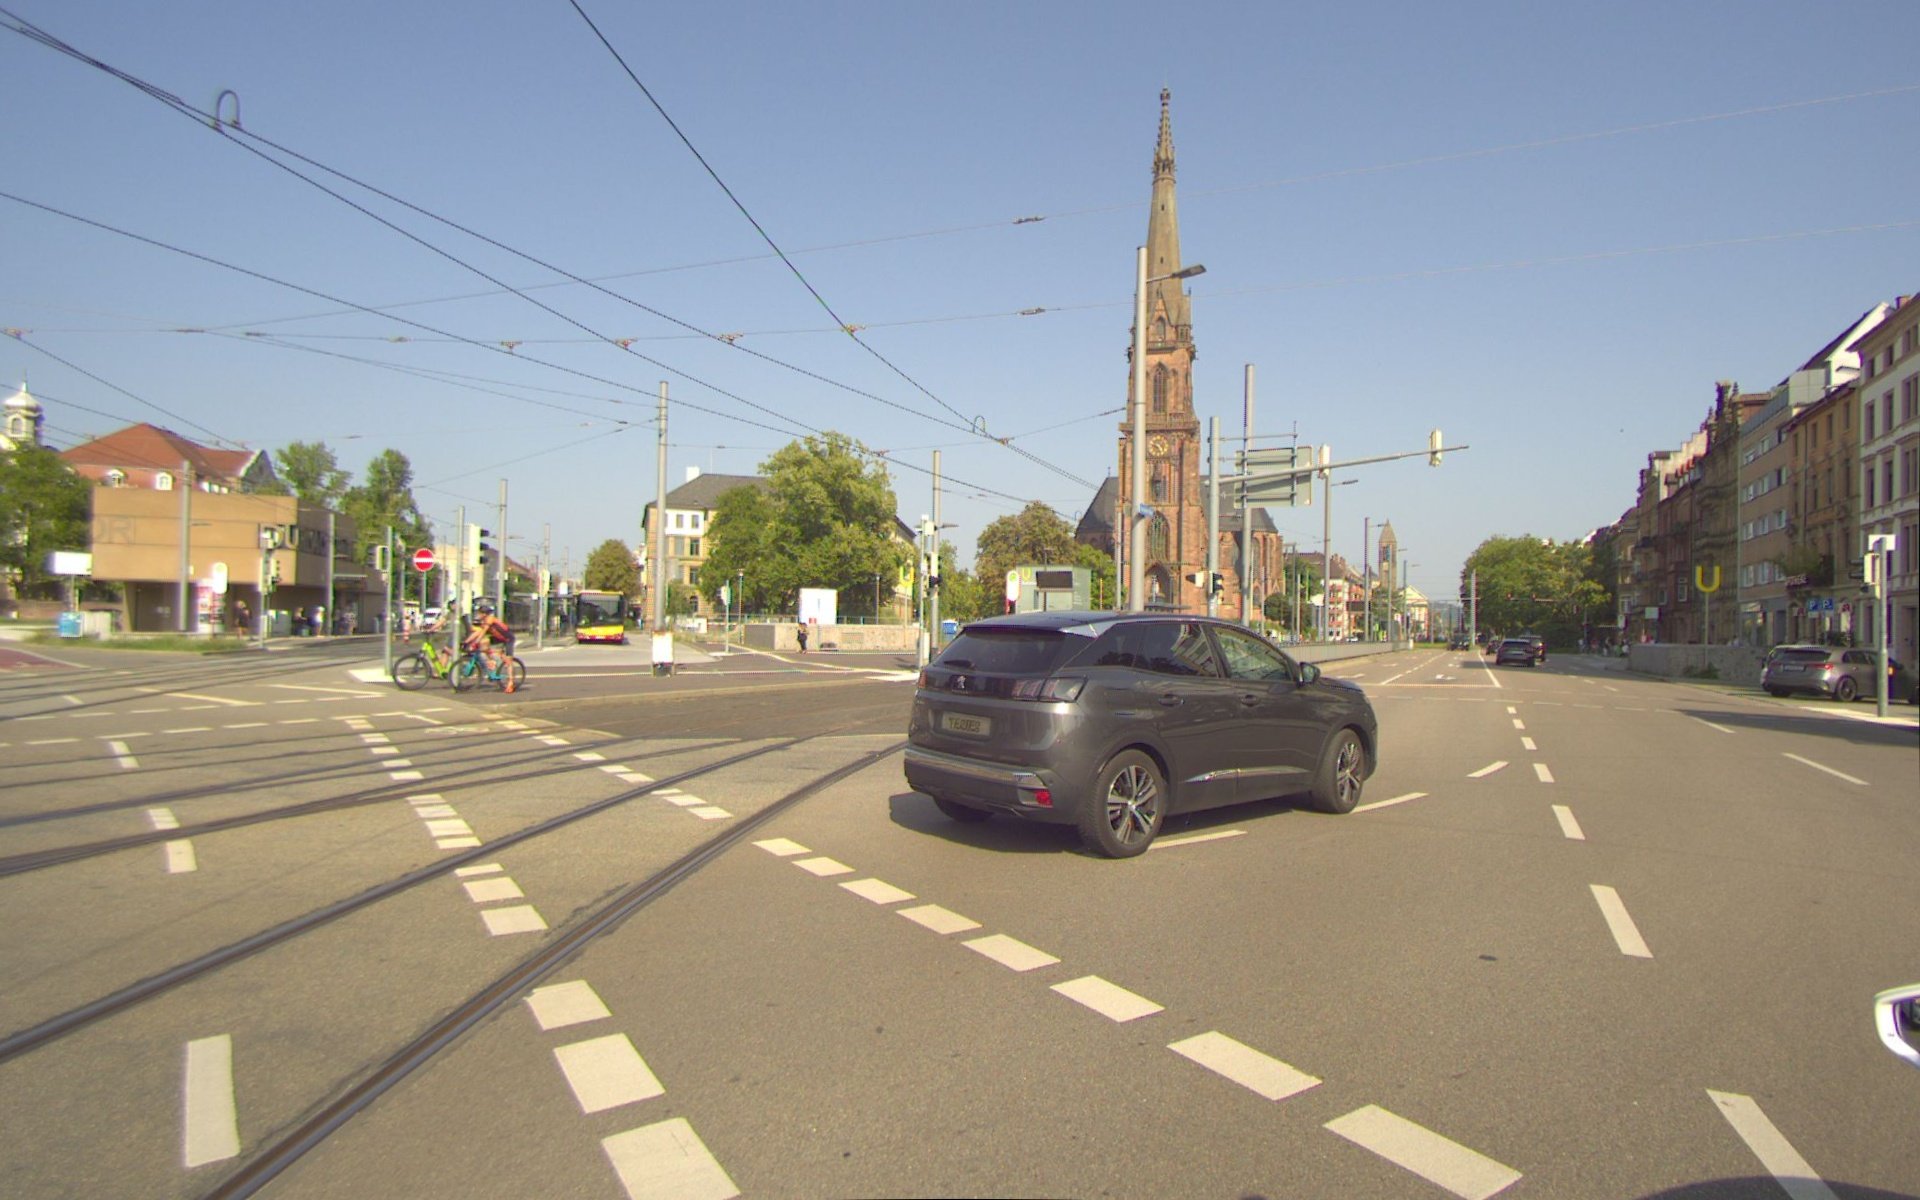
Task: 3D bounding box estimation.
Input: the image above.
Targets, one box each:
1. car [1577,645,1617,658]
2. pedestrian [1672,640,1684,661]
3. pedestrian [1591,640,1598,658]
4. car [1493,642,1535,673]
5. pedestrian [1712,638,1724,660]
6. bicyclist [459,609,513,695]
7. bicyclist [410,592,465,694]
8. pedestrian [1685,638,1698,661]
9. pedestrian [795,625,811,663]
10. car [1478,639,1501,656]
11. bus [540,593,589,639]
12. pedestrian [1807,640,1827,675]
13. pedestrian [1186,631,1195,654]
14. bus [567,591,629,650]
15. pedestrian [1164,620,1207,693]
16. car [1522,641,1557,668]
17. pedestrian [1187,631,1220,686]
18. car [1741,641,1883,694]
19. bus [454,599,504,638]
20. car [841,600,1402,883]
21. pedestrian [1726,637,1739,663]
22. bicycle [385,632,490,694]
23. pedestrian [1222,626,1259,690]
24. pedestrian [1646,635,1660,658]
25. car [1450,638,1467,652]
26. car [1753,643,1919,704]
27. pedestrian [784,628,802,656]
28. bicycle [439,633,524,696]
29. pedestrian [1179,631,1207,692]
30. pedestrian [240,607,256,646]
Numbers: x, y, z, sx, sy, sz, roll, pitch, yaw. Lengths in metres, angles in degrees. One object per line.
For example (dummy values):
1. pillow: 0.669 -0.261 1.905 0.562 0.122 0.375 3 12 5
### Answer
1. car: 82.927 6.713 130.915 4.113 1.584 1.999 1 -1 23
2. pedestrian: 57.437 4.020 80.353 0.709 1.631 0.855 1 -1 28
3. pedestrian: 61.483 4.760 97.365 0.473 1.724 0.703 1 -1 24
4. car: 29.887 3.079 54.268 1.836 1.443 4.352 2 -1 27
5. pedestrian: 59.921 3.904 79.384 0.594 1.714 0.587 1 -1 24
6. bicyclist: -9.333 1.013 19.795 0.504 1.652 0.803 1 -1 43
7. bicyclist: -10.539 0.859 20.261 0.573 2.001 0.803 1 -1 42
8. pedestrian: 58.218 3.958 79.900 0.709 1.811 0.855 1 -1 28
9. pedestrian: -7.549 2.112 48.248 0.631 1.783 0.441 2 -1 -20
10. car: 48.667 4.338 92.372 1.836 1.443 4.352 2 -1 27
11. bus: -30.669 1.266 78.189 3.177 3.220 13.254 2 -2 -21
12. pedestrian: 41.602 2.797 48.754 0.599 1.650 0.736 1 -1 28
13. pedestrian: 17.768 3.268 77.399 0.509 1.723 0.664 1 -1 26
14. bus: -22.268 1.241 61.625 3.177 3.220 13.253 2 -1 -21
15. pedestrian: 5.735 1.425 25.507 0.822 1.811 0.727 -2 -3 35
16. car: 40.025 3.748 69.468 1.804 1.642 4.352 2 -1 27
17. pedestrian: 7.100 1.704 29.279 0.796 1.568 0.547 -2 -3 29
18. car: 26.078 2.064 30.782 3.469 1.483 1.618 2 -1 -15
19. bus: -46.488 1.821 97.412 3.177 3.464 13.253 2 -1 -21
20. car: 1.436 0.893 7.959 4.318 1.642 1.979 2 -2 -38
21. pedestrian: 56.364 3.673 73.307 0.594 1.856 0.742 1 -1 24
22. bicycle: -10.521 1.250 20.284 0.372 1.181 1.849 1 -1 42
23. pedestrian: 7.689 1.587 27.531 0.801 1.715 0.650 -2 -3 28
24. pedestrian: 53.737 3.637 77.911 0.737 1.752 0.800 1 -1 24
25. car: 56.393 5.068 113.622 1.714 1.547 3.869 1 -1 26
26. car: 23.927 1.970 26.932 4.332 1.442 1.844 2 -1 -12
27. pedestrian: -8.069 2.025 48.627 0.756 1.309 0.556 2 -1 -20
28. bicycle: -9.393 1.245 19.763 0.307 1.181 1.491 1 -1 42
29. pedestrian: 6.262 1.647 26.998 0.623 1.618 0.467 -2 -3 26
30. pedestrian: -33.391 1.244 47.136 0.397 1.792 0.557 2 -1 -16
